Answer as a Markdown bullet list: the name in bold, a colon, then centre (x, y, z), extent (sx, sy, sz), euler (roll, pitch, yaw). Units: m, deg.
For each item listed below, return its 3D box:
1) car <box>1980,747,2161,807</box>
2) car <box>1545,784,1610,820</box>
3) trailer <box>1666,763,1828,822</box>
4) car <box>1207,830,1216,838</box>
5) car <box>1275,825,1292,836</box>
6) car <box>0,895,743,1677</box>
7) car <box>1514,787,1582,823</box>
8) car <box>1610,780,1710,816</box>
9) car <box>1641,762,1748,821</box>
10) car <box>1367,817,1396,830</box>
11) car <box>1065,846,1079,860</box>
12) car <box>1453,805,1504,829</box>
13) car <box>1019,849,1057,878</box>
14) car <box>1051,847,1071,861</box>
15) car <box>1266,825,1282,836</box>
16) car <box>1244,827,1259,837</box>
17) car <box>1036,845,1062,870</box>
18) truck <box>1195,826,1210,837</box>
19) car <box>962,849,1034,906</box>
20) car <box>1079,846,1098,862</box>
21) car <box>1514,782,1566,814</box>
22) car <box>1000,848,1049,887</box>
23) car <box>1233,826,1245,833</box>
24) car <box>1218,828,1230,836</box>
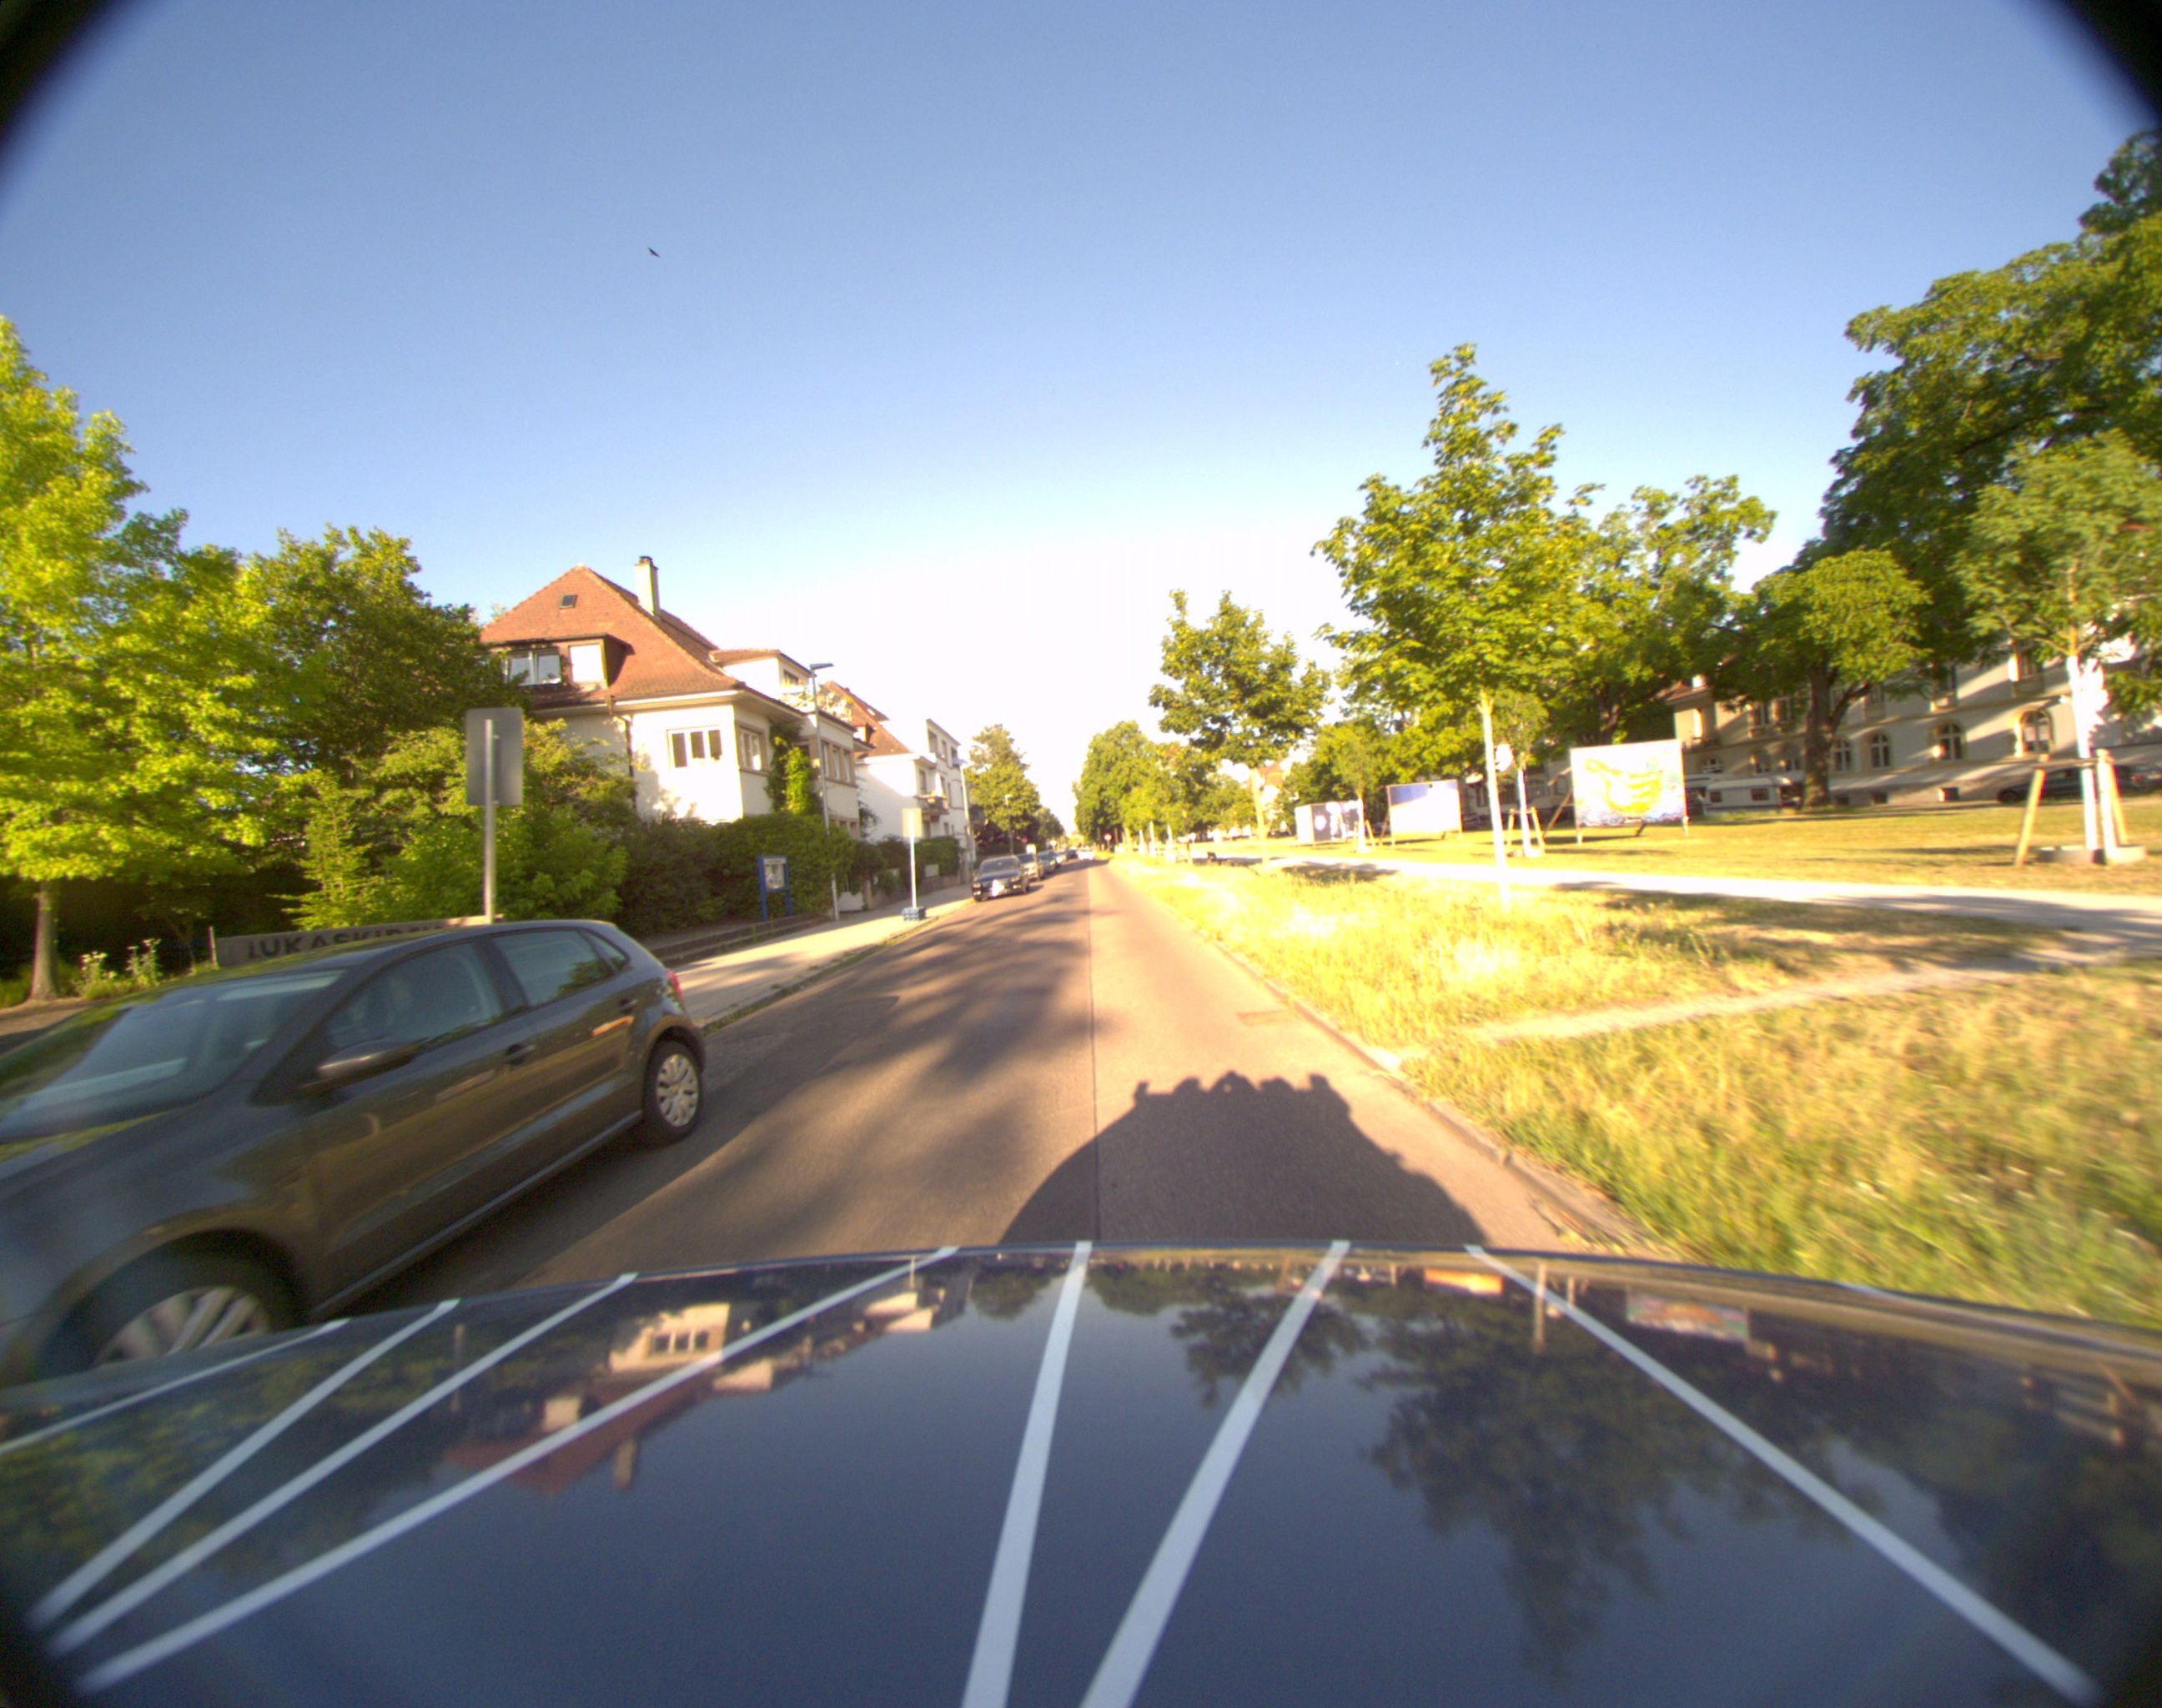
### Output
- **car**: centre (39.973, -3.044, 30.625), extent (1.894, 1.901, 4.714), euler (-5, 1, 1)
- **car**: centre (40.166, -4.157, 61.635), extent (1.950, 2.625, 5.043), euler (-1, 2, 1)
- **trailer**: centre (33.983, -3.047, 39.172), extent (2.479, 2.644, 6.634), euler (-1, 2, 0)
- **car**: centre (35.969, -5.502, 209.433), extent (1.998, 2.002, 4.001), euler (-4, 0, 3)
- **car**: centre (34.959, -4.087, 131.076), extent (1.998, 1.834, 3.999), euler (-1, 2, 2)
- **car**: centre (-3.266, 1.158, 3.034), extent (1.692, 1.519, 4.174), euler (-9, 0, 1)
- **car**: centre (34.191, -3.547, 55.781), extent (1.999, 2.162, 4.570), euler (-4, 0, -2)
- **car**: centre (34.145, -3.268, 45.008), extent (1.999, 1.633, 4.950), euler (-6, 1, -1)
- **car**: centre (39.907, -3.974, 49.690), extent (1.998, 3.230, 6.074), euler (-4, 0, 1)
- **car**: centre (40.505, -4.113, 102.479), extent (1.999, 1.490, 3.998), euler (-4, 0, -4)
- **car**: centre (-1.560, -0.162, 130.629), extent (1.998, 2.179, 4.000), euler (-4, 0, 1)
- **car**: centre (34.414, -3.193, 65.914), extent (1.999, 1.718, 4.344), euler (-4, 0, 0)
- **car**: centre (-2.768, 0.579, 49.968), extent (1.916, 1.550, 4.566), euler (-9, 0, 1)
- **car**: centre (-2.453, 0.006, 93.238), extent (2.111, 1.396, 4.132), euler (-10, 0, 1)
- **car**: centre (34.961, -4.304, 137.847), extent (1.998, 1.834, 3.999), euler (-1, 2, 2)
- **car**: centre (35.459, -4.575, 158.062), extent (1.998, 1.693, 4.000), euler (-4, 0, 1)
- **car**: centre (-2.651, 0.275, 64.135), extent (1.806, 1.639, 4.582), euler (-9, 2, -1)
- **truck**: centre (36.019, -6.660, 225.203), extent (2.785, 3.128, 7.708), euler (-5, 1, 0)
- **car**: centre (-3.031, 0.792, 28.689), extent (1.999, 1.588, 4.884), euler (-9, 2, 0)
- **car**: centre (0.827, -0.019, 87.620), extent (1.998, 1.484, 3.999), euler (-6, 1, 1)
- **car**: centre (40.077, -4.860, 66.455), extent (1.998, 2.527, 3.998), euler (-4, 3, 1)
- **car**: centre (-2.866, 0.658, 39.612), extent (1.888, 1.528, 4.461), euler (-8, 2, 2)
- **car**: centre (40.539, -6.231, 195.300), extent (1.999, 1.835, 3.998), euler (-1, 2, -2)
- **car**: centre (35.632, -5.430, 189.190), extent (2.125, 2.002, 3.998), euler (-1, 2, -1)
